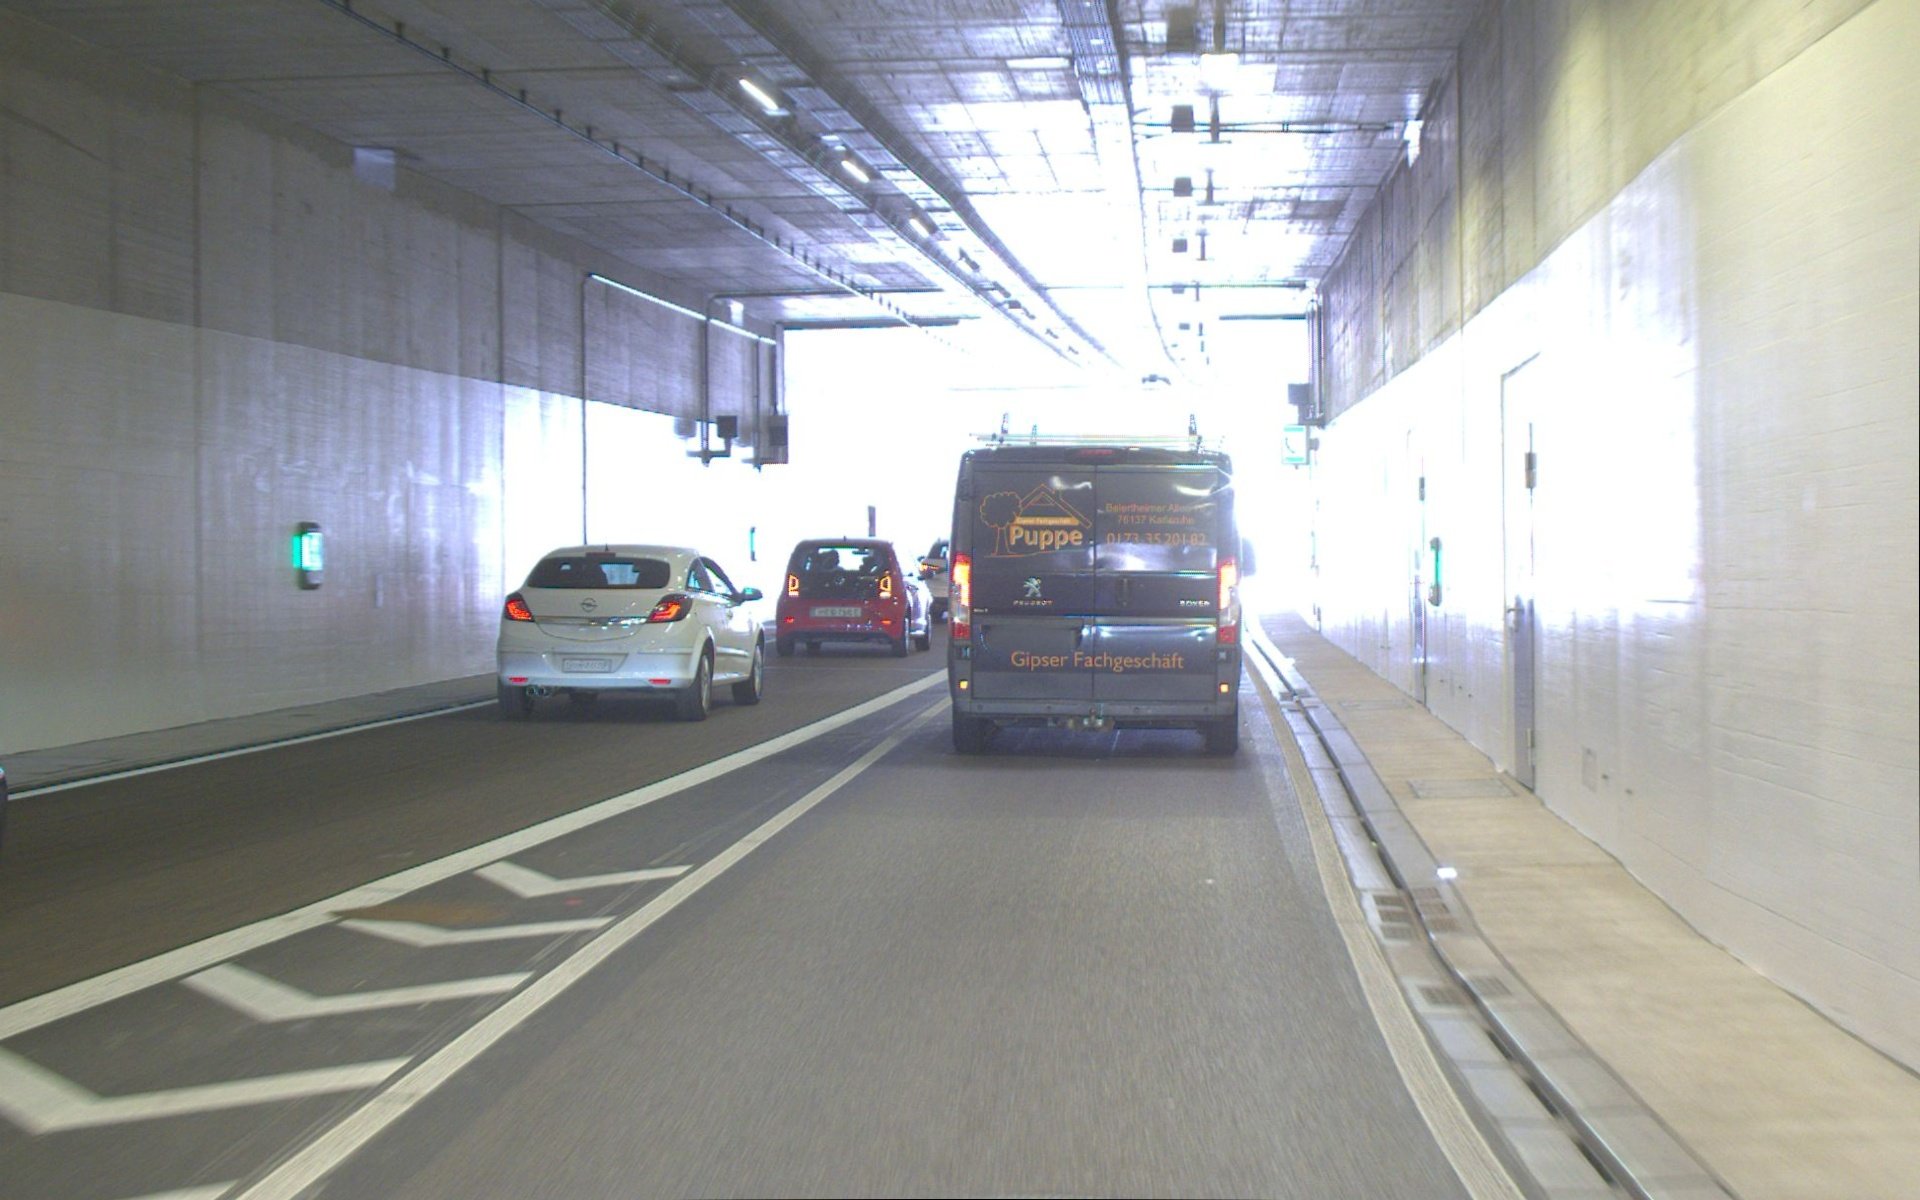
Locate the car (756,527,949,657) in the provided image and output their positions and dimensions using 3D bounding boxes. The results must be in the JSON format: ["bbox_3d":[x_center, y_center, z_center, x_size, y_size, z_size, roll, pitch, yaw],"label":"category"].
[{"bbox_3d":[-1.303,-0.145,43.474,1.815,1.507,4.220,2,1,6],"label":"car"}]

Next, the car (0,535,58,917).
[{"bbox_3d":[-4.632,0.472,10.955,1.696,1.417,4.850,2,1,7],"label":"car"}]

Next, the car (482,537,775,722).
[{"bbox_3d":[-2.730,0.194,29.170,1.709,1.408,3.973,1,2,6],"label":"car"}]

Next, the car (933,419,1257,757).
[{"bbox_3d":[1.033,-0.115,25.648,2.158,2.258,4.636,1,1,3],"label":"car"}]

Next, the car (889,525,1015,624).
[{"bbox_3d":[-0.099,-0.422,58.418,1.876,1.576,4.220,2,0,3],"label":"car"}]

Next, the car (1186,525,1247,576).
[{"bbox_3d":[8.638,-1.654,115.962,1.876,1.619,4.220,2,0,3],"label":"car"}]
